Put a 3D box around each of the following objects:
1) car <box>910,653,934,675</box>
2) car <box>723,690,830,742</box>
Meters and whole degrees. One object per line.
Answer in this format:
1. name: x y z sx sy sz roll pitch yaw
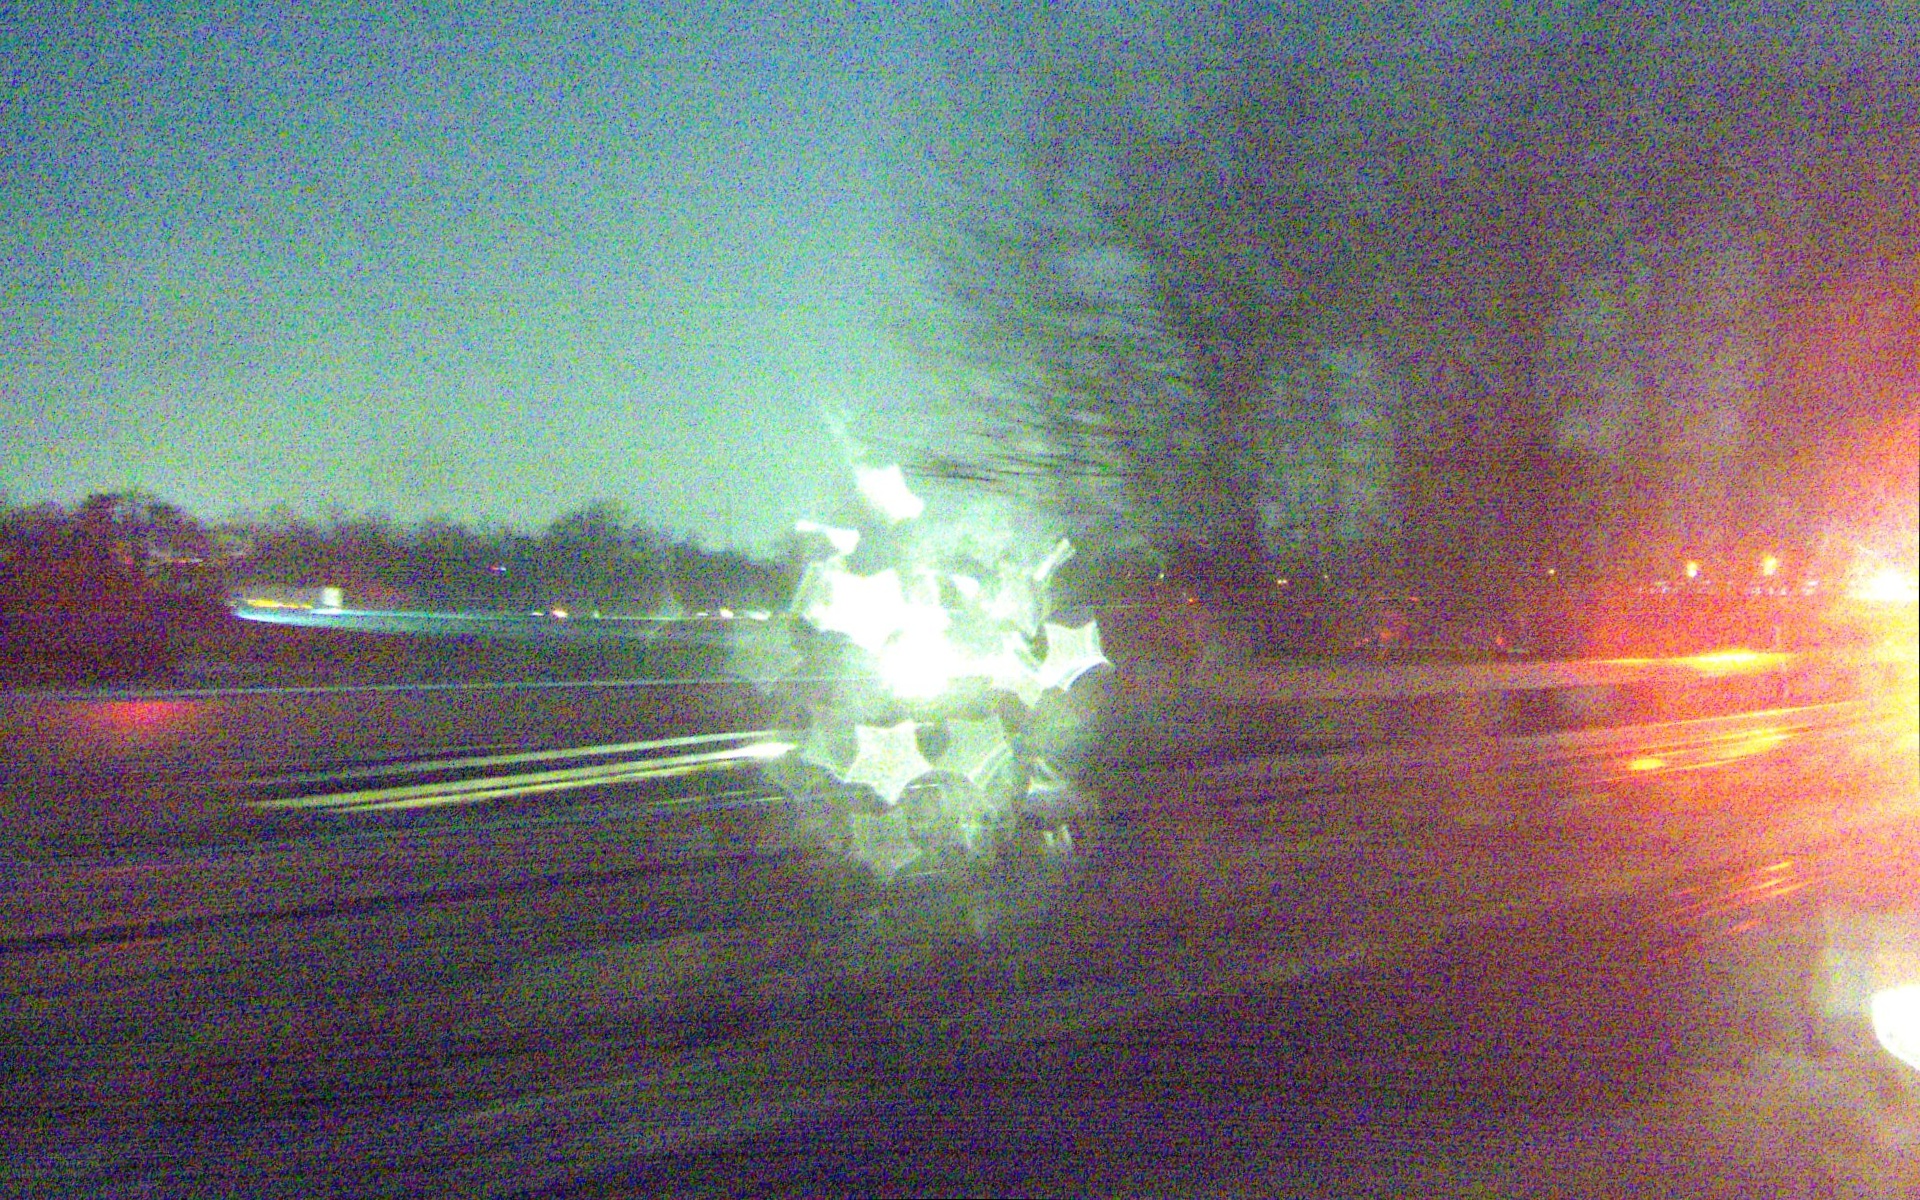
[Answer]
1. car: -2.865 4.727 74.921 1.477 1.446 3.428 2 -1 -7
2. car: -6.560 4.156 36.375 1.713 1.444 4.096 2 -1 26
